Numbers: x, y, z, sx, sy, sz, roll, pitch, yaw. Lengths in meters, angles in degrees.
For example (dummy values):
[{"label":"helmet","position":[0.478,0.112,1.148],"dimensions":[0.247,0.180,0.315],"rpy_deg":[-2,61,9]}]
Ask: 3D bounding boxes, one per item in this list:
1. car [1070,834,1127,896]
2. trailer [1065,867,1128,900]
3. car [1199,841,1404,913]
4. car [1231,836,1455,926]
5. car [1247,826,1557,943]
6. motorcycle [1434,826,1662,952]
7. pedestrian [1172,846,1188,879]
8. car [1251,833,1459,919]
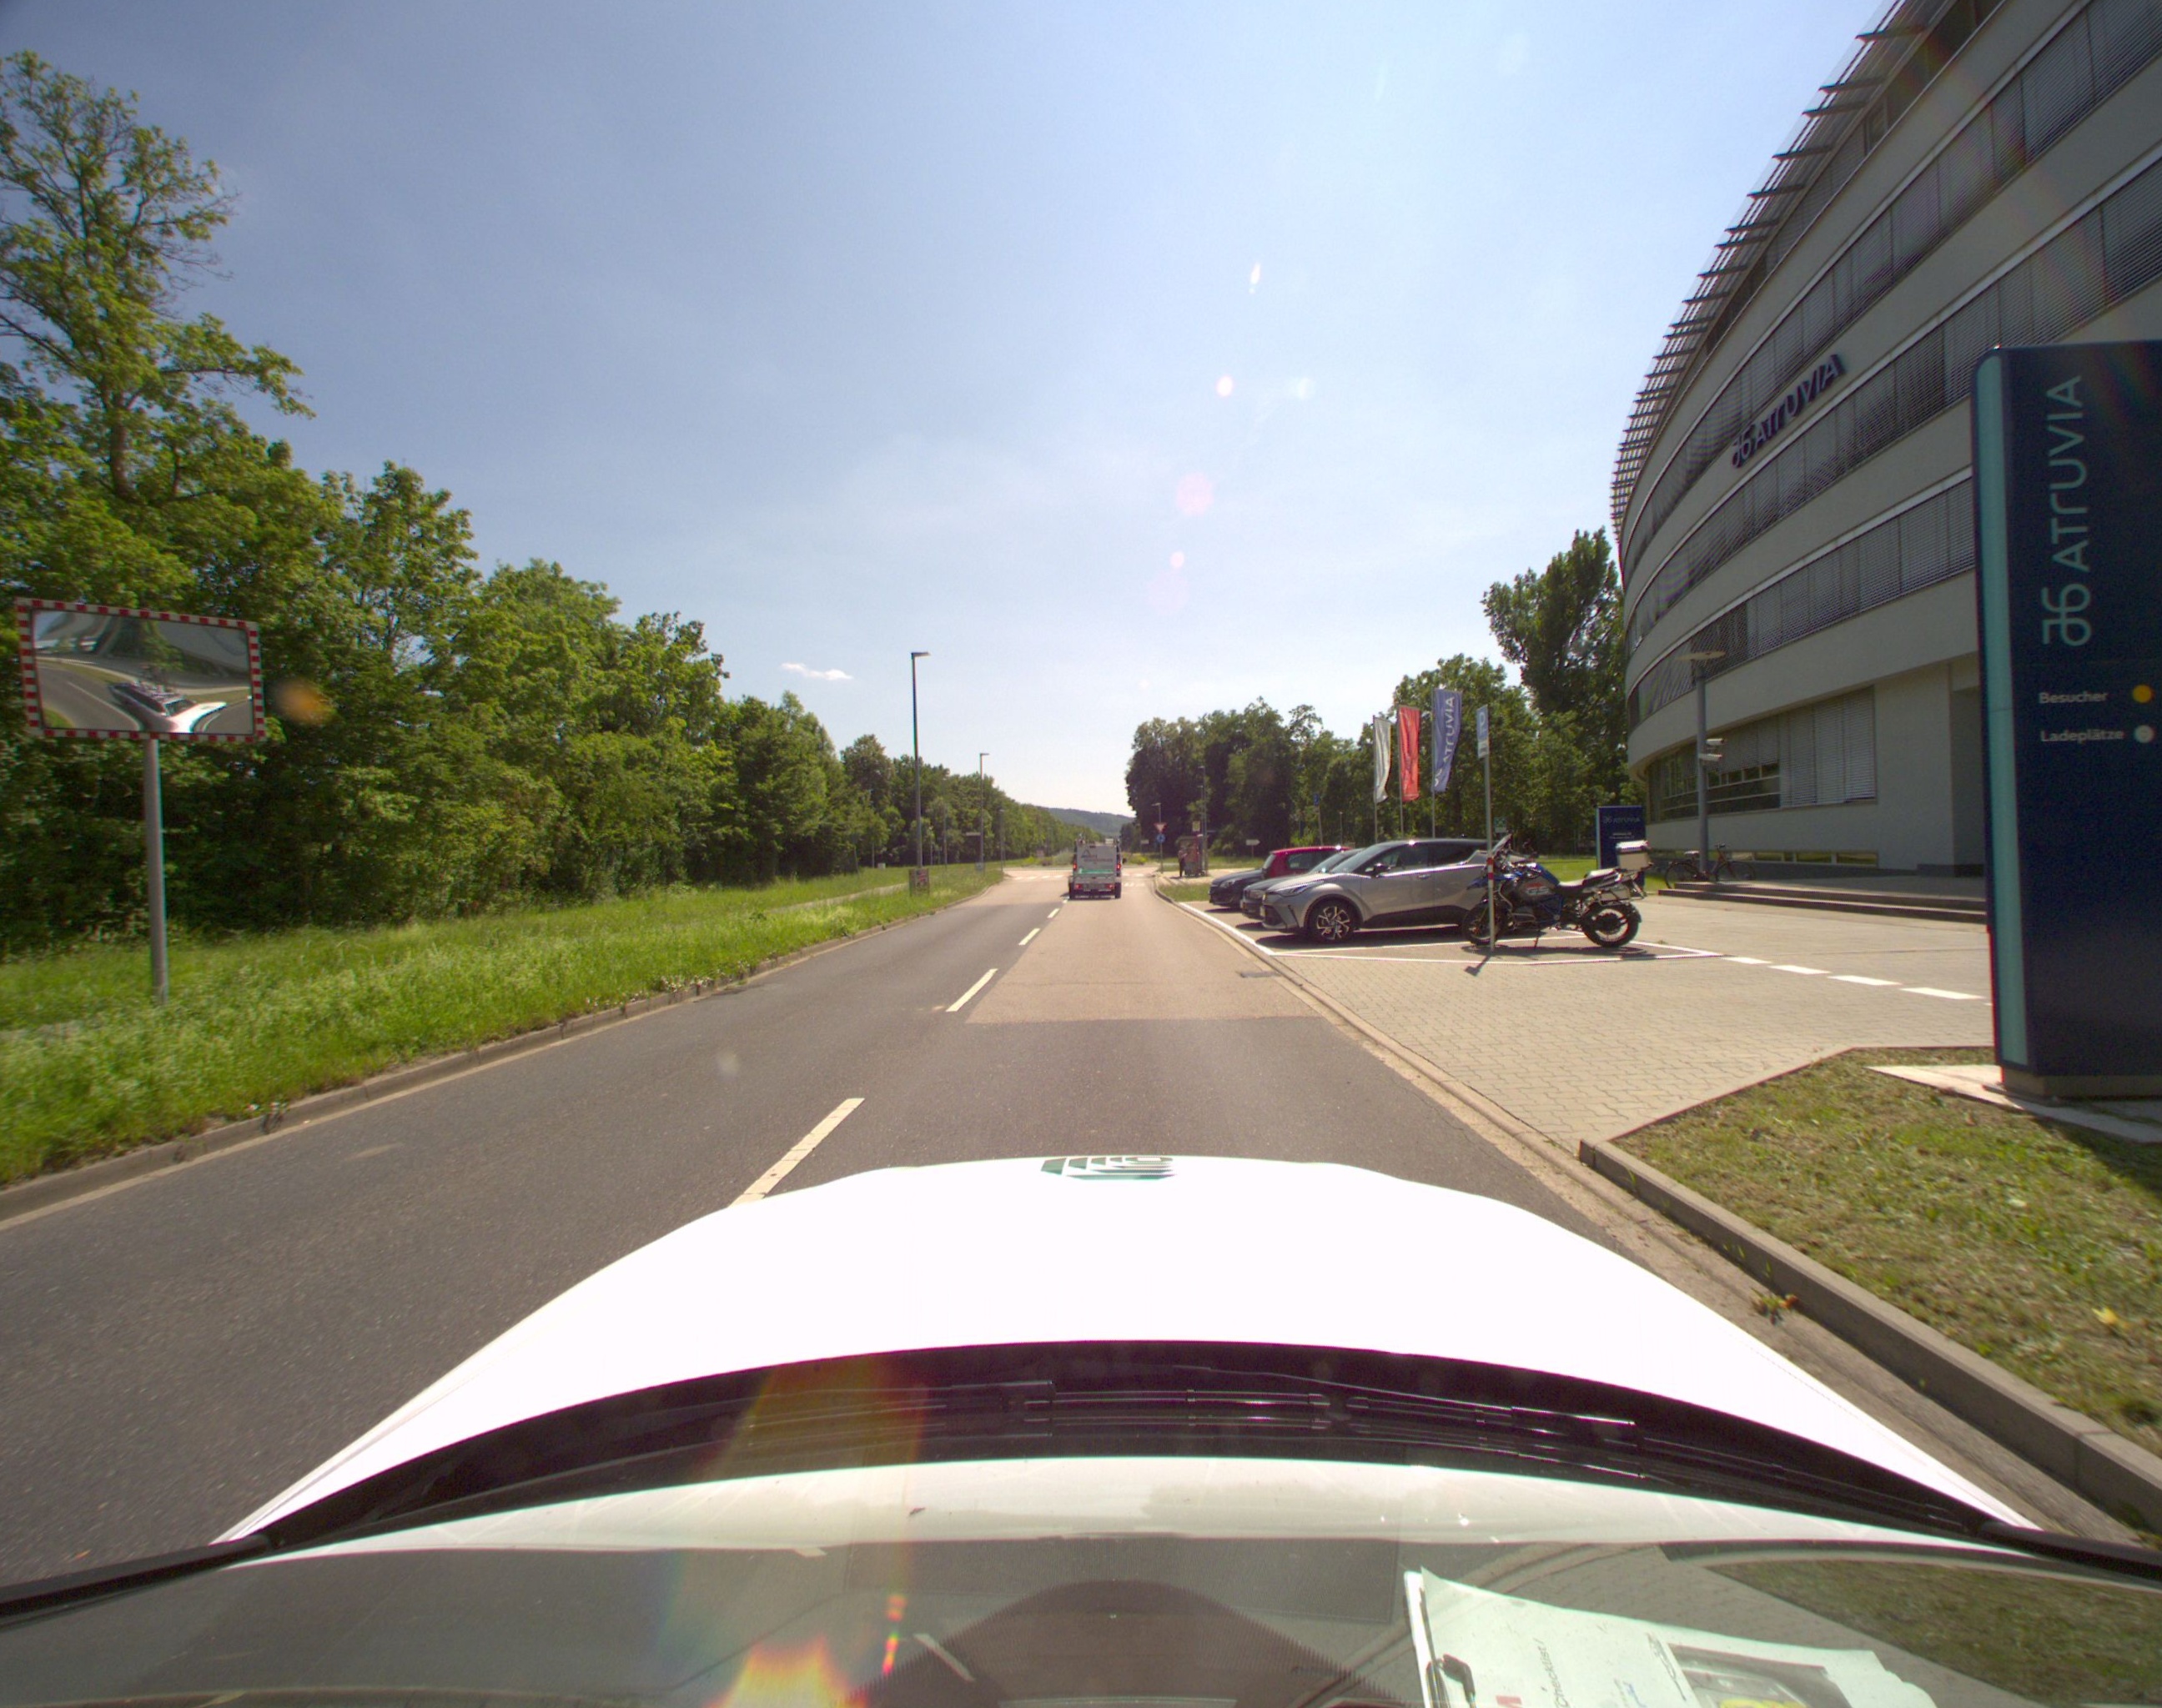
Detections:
[{"label":"car","position":[0.741,0.444,33.219],"dimensions":[2.158,2.316,4.983],"rpy_deg":[0,-1,2]},{"label":"trailer","position":[0.570,1.018,29.021],"dimensions":[2.113,1.097,3.356],"rpy_deg":[0,0,2]},{"label":"car","position":[5.371,0.559,20.261],"dimensions":[4.551,1.432,1.828],"rpy_deg":[-3,-1,1]},{"label":"car","position":[4.908,0.504,15.684],"dimensions":[3.790,1.486,1.657],"rpy_deg":[-3,-1,4]},{"label":"car","position":[5.036,0.483,13.256],"dimensions":[4.302,1.563,1.788],"rpy_deg":[-3,-1,3]},{"label":"motorcycle","position":[6.104,0.457,10.797],"dimensions":[2.414,1.497,1.233],"rpy_deg":[-3,0,29]},{"label":"pedestrian","position":[5.519,0.478,45.469],"dimensions":[0.705,1.822,0.827],"rpy_deg":[-3,-1,3]},{"label":"car","position":[5.905,0.474,17.952],"dimensions":[3.968,1.655,1.841],"rpy_deg":[-2,-1,4]}]
